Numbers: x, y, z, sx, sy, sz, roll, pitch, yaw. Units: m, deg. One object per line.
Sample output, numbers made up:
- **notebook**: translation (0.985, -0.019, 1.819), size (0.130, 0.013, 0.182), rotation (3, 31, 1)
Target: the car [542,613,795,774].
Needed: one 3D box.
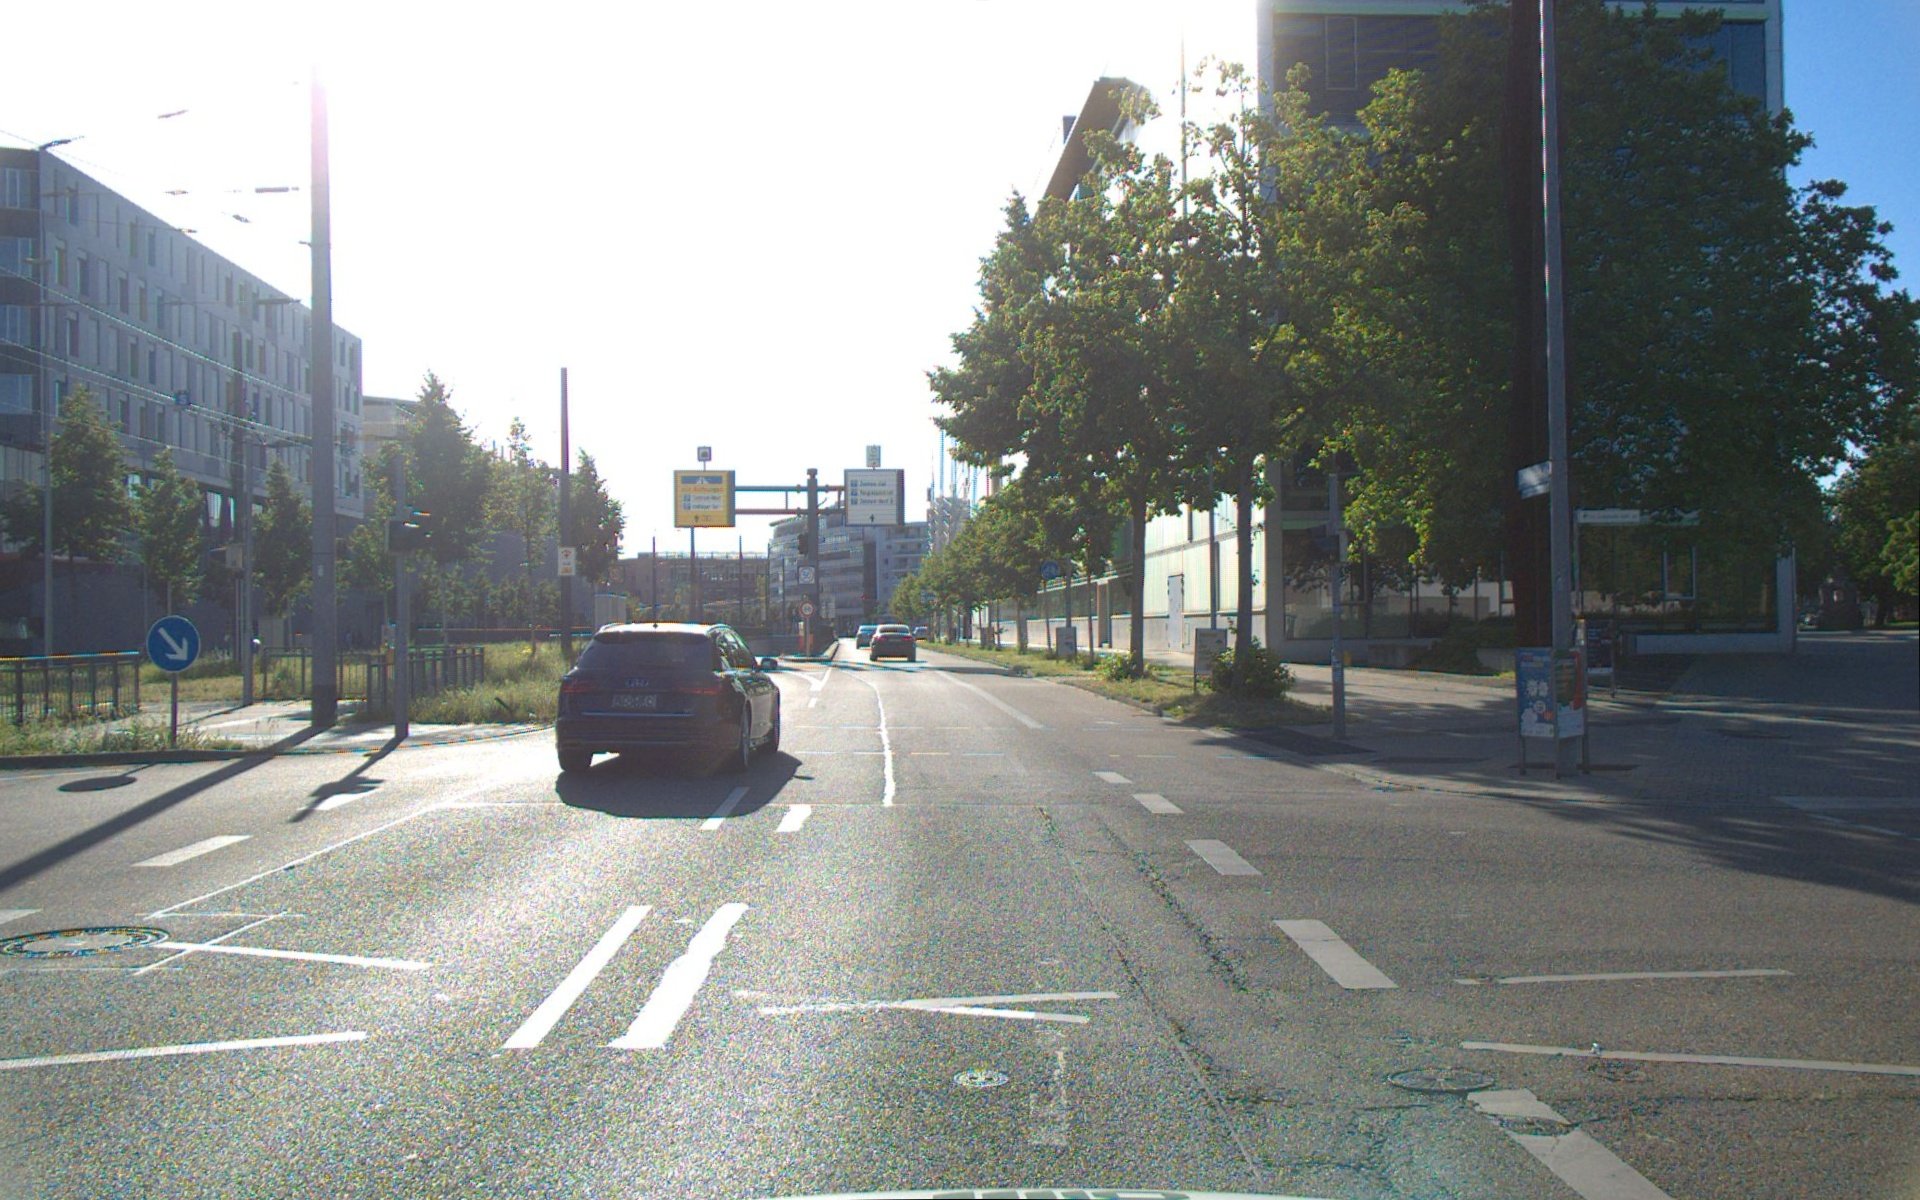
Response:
- **car**: translation (-2.910, 0.915, 17.499), size (1.775, 1.452, 4.689), rotation (-1, -1, 1)

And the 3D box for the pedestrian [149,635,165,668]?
- **pedestrian**: translation (-50.158, 3.203, 103.299), size (0.721, 2.049, 0.689), rotation (-1, -1, -4)

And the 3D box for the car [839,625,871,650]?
- **car**: translation (-6.663, 2.361, 105.454), size (1.954, 1.491, 3.997), rotation (0, 0, -3)

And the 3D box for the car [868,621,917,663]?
- **car**: translation (-2.686, 1.630, 64.974), size (1.816, 1.573, 3.996), rotation (1, -1, -4)

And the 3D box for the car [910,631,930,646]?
- **car**: translation (-4.222, 4.098, 175.110), size (1.816, 1.507, 4.848), rotation (-2, -1, -5)
